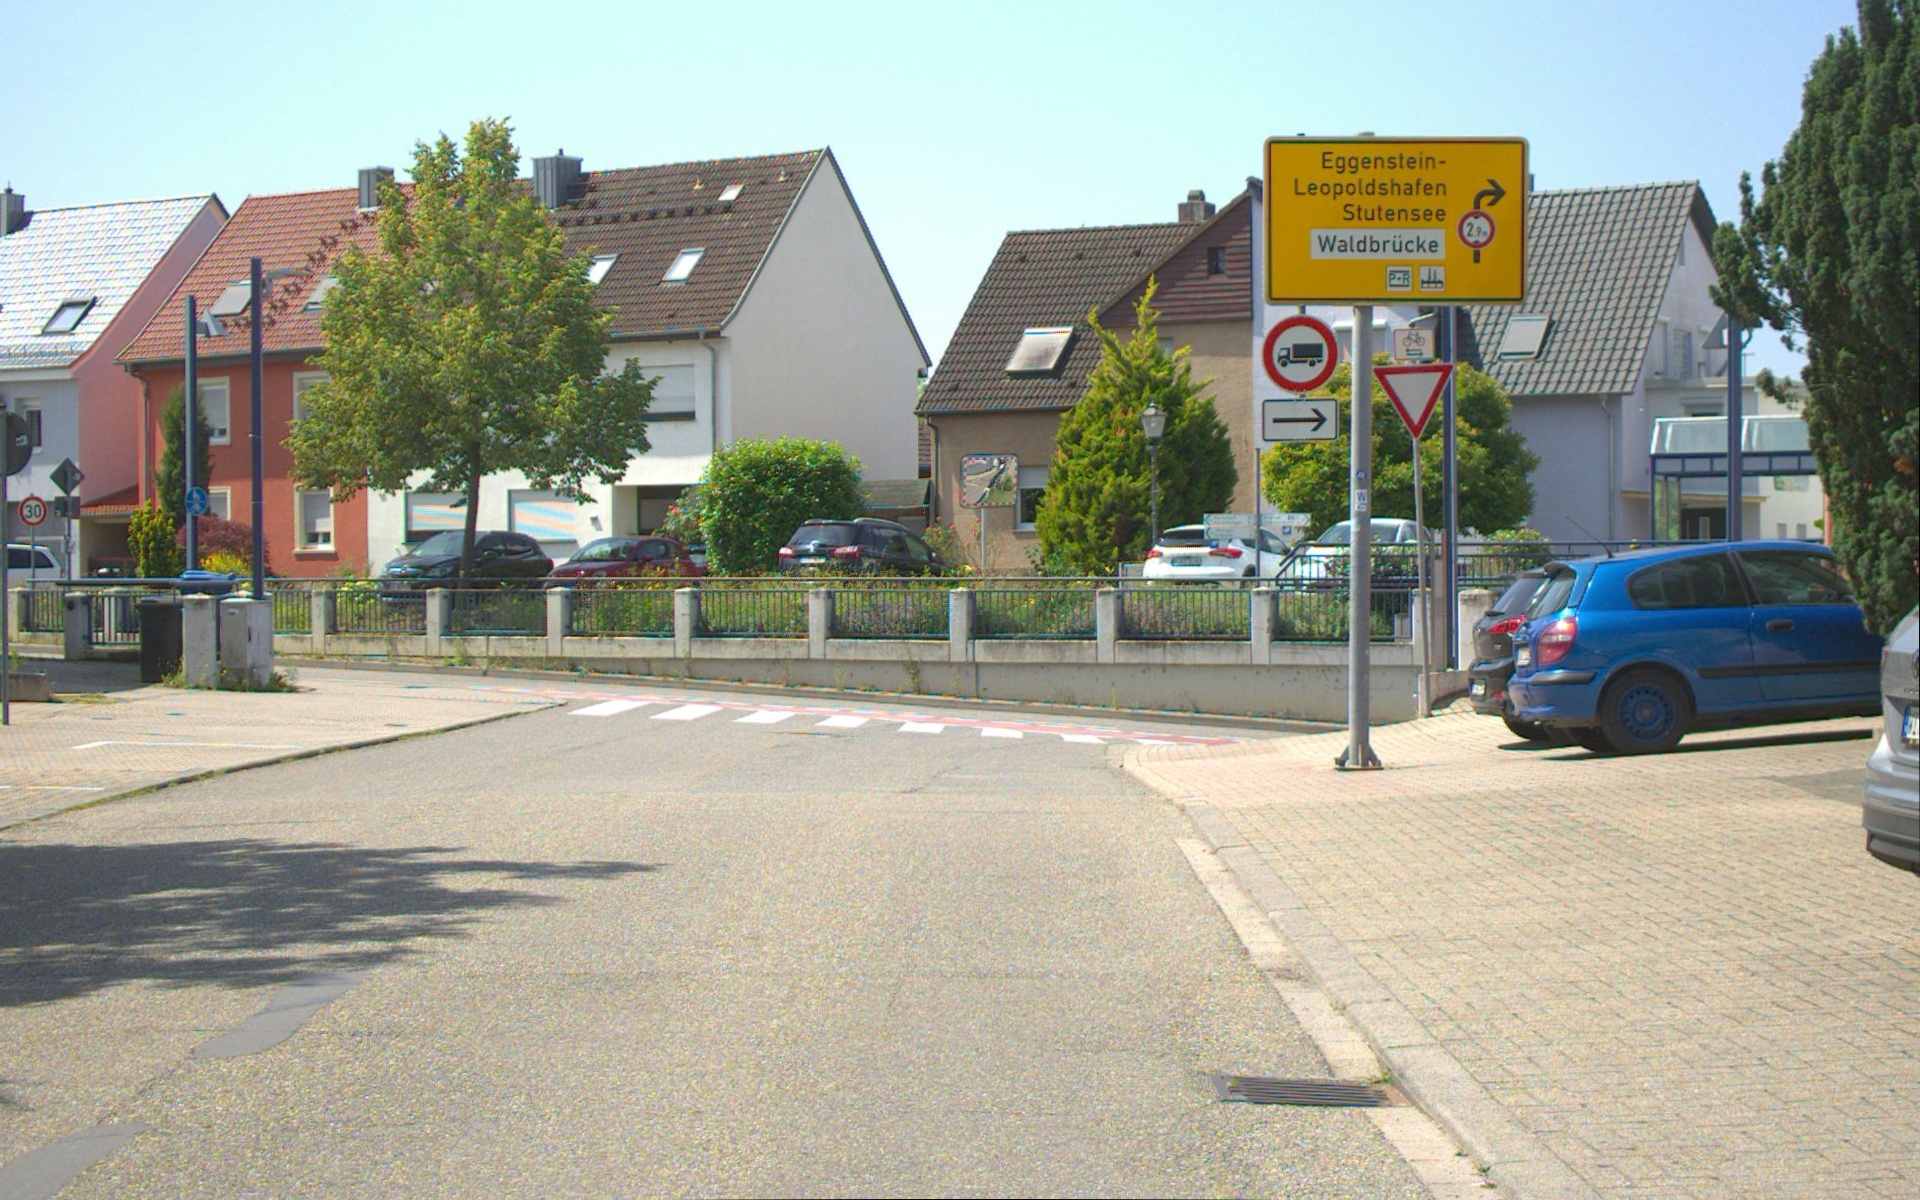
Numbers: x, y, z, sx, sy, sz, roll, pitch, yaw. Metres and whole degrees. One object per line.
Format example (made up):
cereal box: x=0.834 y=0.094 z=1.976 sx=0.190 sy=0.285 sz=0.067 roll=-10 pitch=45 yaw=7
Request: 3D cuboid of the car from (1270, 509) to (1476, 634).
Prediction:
car: x=6.869 y=-0.443 z=56.850 sx=1.996 sy=1.791 sz=4.190 roll=4 pitch=0 yaw=26

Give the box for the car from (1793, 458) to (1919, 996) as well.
car: x=5.208 y=0.320 z=11.179 sx=4.452 sy=1.691 sz=1.923 roll=-2 pitch=1 yaw=-2

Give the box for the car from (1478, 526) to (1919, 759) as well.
car: x=6.051 y=0.270 z=24.584 sx=4.322 sy=1.435 sz=1.780 roll=-4 pitch=-2 yaw=-1

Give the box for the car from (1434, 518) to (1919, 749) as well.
car: x=5.999 y=0.257 z=27.850 sx=3.894 sy=1.485 sz=1.810 roll=-5 pitch=-1 yaw=-2

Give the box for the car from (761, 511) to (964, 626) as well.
car: x=-1.705 y=-0.548 z=61.577 sx=1.870 sy=1.791 sz=3.994 roll=4 pitch=0 yaw=26

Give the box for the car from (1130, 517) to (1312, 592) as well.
car: x=4.422 y=-0.754 z=57.860 sx=1.828 sy=1.016 sz=3.454 roll=4 pitch=0 yaw=26

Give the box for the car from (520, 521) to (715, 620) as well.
car: x=-6.304 y=-0.524 z=63.573 sx=1.870 sy=1.581 sz=3.604 roll=4 pitch=0 yaw=26

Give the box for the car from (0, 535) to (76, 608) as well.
car: x=-21.467 y=-0.694 z=74.645 sx=1.745 sy=1.483 sz=4.248 roll=4 pitch=0 yaw=33

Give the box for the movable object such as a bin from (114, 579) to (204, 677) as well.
movable object such as a bin: x=-10.144 y=0.351 z=43.570 sx=0.885 sy=1.221 sz=0.902 roll=1 pitch=0 yaw=2

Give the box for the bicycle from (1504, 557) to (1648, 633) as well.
bicycle: x=9.340 y=-0.084 z=52.167 sx=2.117 sy=1.122 sz=0.332 roll=1 pitch=1 yaw=20

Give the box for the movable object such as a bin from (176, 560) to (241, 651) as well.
movable object such as a bin: x=-10.260 y=0.071 z=46.936 sx=0.839 sy=1.209 sz=1.277 roll=1 pitch=0 yaw=-13

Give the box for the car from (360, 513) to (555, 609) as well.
car: x=-9.547 y=-0.725 z=65.595 sx=1.870 sy=1.581 sz=3.604 roll=4 pitch=0 yaw=26
